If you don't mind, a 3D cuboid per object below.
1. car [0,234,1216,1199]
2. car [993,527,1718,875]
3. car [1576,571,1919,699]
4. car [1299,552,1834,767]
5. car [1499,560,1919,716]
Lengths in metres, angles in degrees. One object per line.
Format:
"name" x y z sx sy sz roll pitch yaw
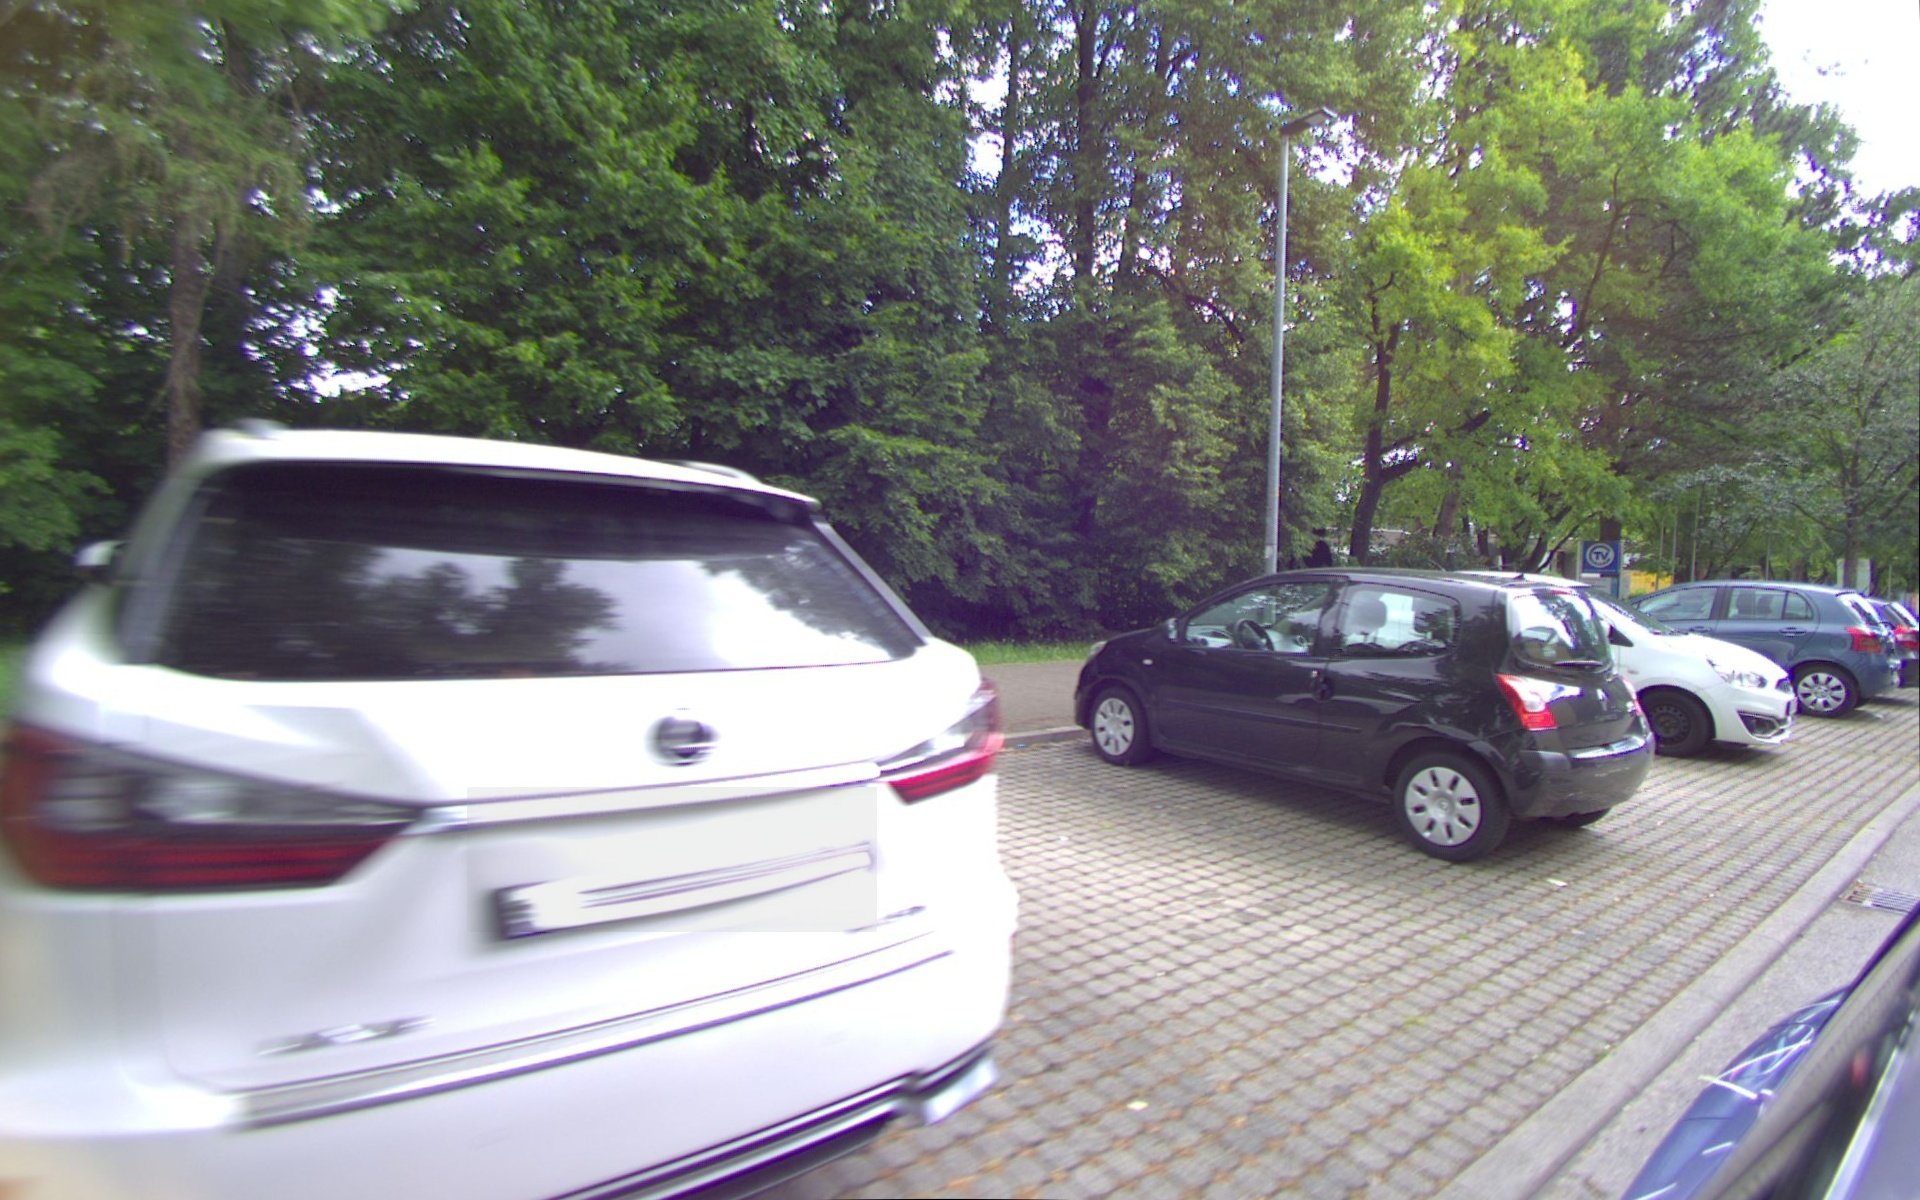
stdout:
"car" -1.731 0.345 3.369 1.937 1.713 4.835 0 4 -36
"car" 2.264 0.349 6.809 1.817 1.589 4.171 0 3 -38
"car" 11.480 0.397 14.574 1.755 1.482 4.094 0 3 -41
"car" 5.718 0.382 9.948 1.756 1.589 4.164 0 3 -43
"car" 9.481 0.340 12.996 1.755 1.589 4.143 0 3 -41
